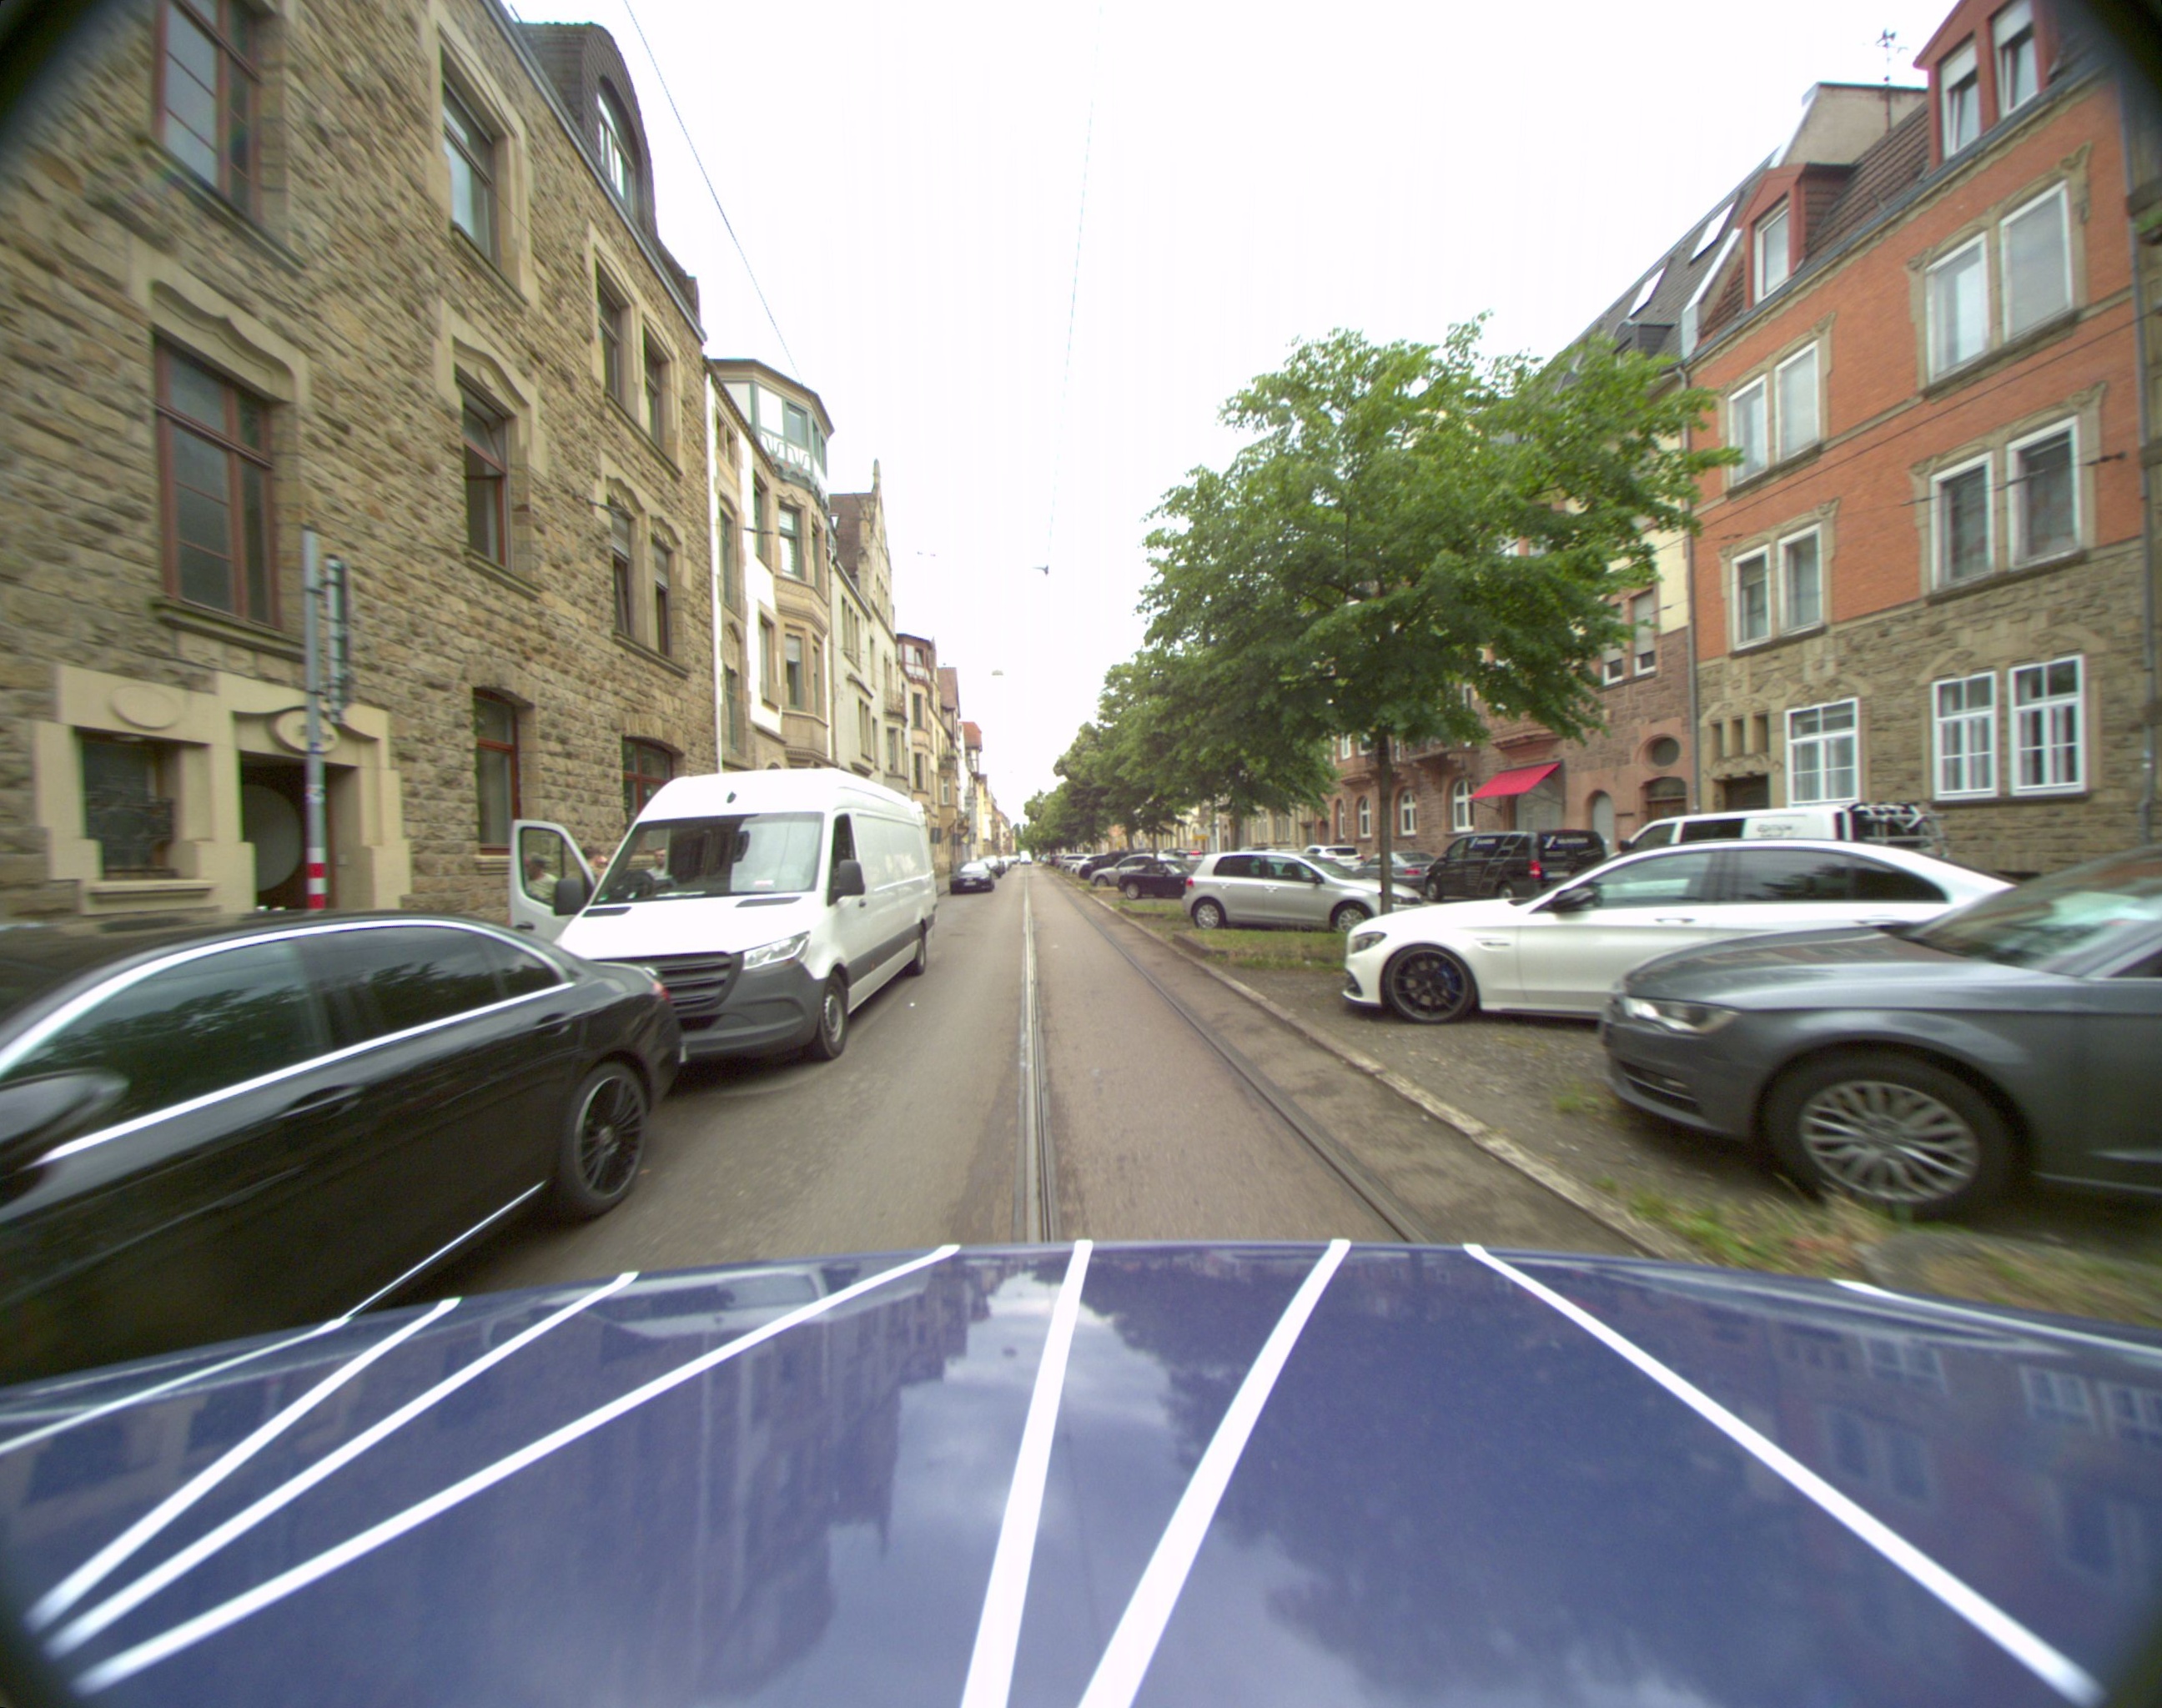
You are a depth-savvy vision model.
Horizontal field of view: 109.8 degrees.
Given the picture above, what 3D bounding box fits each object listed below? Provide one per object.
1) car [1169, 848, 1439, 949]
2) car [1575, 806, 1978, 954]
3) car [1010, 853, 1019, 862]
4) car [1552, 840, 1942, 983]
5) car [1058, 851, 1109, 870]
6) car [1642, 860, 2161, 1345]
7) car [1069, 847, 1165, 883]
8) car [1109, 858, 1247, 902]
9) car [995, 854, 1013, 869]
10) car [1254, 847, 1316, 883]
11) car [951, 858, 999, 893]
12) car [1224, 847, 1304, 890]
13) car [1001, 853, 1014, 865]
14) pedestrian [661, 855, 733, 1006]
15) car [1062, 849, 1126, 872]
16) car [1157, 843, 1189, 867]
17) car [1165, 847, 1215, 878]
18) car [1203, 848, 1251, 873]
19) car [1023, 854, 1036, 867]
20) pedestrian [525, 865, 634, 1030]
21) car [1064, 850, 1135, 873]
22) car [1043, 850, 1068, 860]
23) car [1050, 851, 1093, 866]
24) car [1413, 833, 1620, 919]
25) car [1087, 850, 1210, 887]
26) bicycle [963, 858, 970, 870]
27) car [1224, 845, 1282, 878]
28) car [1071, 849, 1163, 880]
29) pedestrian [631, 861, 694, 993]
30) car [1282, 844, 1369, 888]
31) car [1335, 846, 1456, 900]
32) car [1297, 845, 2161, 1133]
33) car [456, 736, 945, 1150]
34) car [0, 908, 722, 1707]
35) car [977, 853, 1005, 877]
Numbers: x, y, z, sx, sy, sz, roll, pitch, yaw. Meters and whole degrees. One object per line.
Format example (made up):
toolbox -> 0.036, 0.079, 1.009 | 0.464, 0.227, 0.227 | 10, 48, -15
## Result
car -> 3.805, 0.706, 13.271 | 4.106, 1.475, 1.800 | -2, 1, 37
car -> 11.103, 0.321, 12.836 | 1.887, 1.941, 5.091 | -2, 1, -5
car -> -12.607, 0.639, 144.139 | 1.676, 1.520, 4.211 | -3, 1, -4
car -> 8.459, 0.600, 10.198 | 1.649, 1.495, 3.881 | -2, 1, -5
car -> 0.215, 0.554, 65.801 | 4.195, 1.600, 1.728 | -1, 2, 37
car -> 4.641, 0.758, 2.573 | 4.328, 1.426, 1.902 | -2, 1, 35
car -> 1.717, 0.531, 37.195 | 4.520, 1.624, 1.769 | -1, 1, 40
car -> 2.959, 0.790, 23.664 | 3.952, 1.195, 1.671 | -2, 1, 40
car -> -8.818, 0.826, 87.336 | 1.794, 1.504, 4.212 | -5, 0, -3
car -> 9.561, 0.461, 35.918 | 1.667, 1.551, 3.720 | -2, 1, -5
car -> -4.871, 0.959, 35.536 | 1.806, 1.430, 5.193 | -2, 0, -4
car -> 7.059, 0.490, 29.750 | 1.649, 1.495, 4.619 | -2, 1, -5
car -> -10.522, 0.664, 108.744 | 1.636, 1.520, 4.211 | -3, 1, -4
pedestrian -> -4.765, 0.917, 9.466 | 0.500, 1.804, 0.803 | 0, 1, -2
car -> 0.909, 0.500, 55.433 | 4.552, 1.484, 1.867 | -2, 1, 42
car -> 7.734, 0.088, 64.418 | 1.856, 1.860, 4.429 | -2, 0, -3
car -> 5.996, 0.445, 42.312 | 1.810, 1.570, 4.544 | -2, 1, -5
car -> 8.870, 0.369, 46.563 | 1.810, 1.430, 4.228 | -2, 1, -5
car -> -8.287, 1.040, 121.783 | 1.999, 2.002, 3.998 | -2, 1, -4
pedestrian -> -5.399, 0.971, 8.217 | 0.866, 1.690, 0.537 | 0, 1, -18
car -> 1.156, 0.486, 47.712 | 4.118, 1.304, 1.867 | -2, 1, 39
car -> -4.444, 0.228, 132.633 | 3.990, 1.602, 1.902 | -1, -1, 27
car -> -1.026, 0.483, 83.629 | 4.595, 1.458, 1.890 | -2, 1, 42
car -> 10.375, 0.438, 18.687 | 1.819, 1.771, 5.114 | -2, 1, -5
car -> 2.655, 0.596, 30.512 | 4.655, 1.360, 1.761 | -2, 1, 39
bicycle -> -10.669, 0.932, 70.751 | 0.422, 1.091, 1.587 | 3, 0, -4
car -> 9.178, 0.351, 40.857 | 1.774, 1.619, 4.318 | -2, 1, -5
car -> 1.893, 0.549, 40.377 | 4.529, 1.482, 2.040 | -1, 1, 40
pedestrian -> -5.595, 0.947, 10.156 | 0.706, 1.690, 0.492 | 0, 1, -31
car -> 9.870, 0.423, 31.100 | 1.745, 1.617, 4.551 | -2, 1, -5
car -> 10.146, 0.538, 24.929 | 1.745, 1.533, 4.551 | -2, 1, -5
car -> 4.302, 0.728, 5.836 | 4.675, 1.426, 1.902 | -2, 1, 36
car -> -3.051, 0.550, 8.386 | 2.019, 2.534, 7.014 | -4, 0, -3
car -> -2.976, 1.104, 1.985 | 1.829, 1.442, 5.005 | -3, 1, -3
car -> -6.419, 0.757, 54.558 | 1.764, 1.613, 4.692 | -2, 0, -5
